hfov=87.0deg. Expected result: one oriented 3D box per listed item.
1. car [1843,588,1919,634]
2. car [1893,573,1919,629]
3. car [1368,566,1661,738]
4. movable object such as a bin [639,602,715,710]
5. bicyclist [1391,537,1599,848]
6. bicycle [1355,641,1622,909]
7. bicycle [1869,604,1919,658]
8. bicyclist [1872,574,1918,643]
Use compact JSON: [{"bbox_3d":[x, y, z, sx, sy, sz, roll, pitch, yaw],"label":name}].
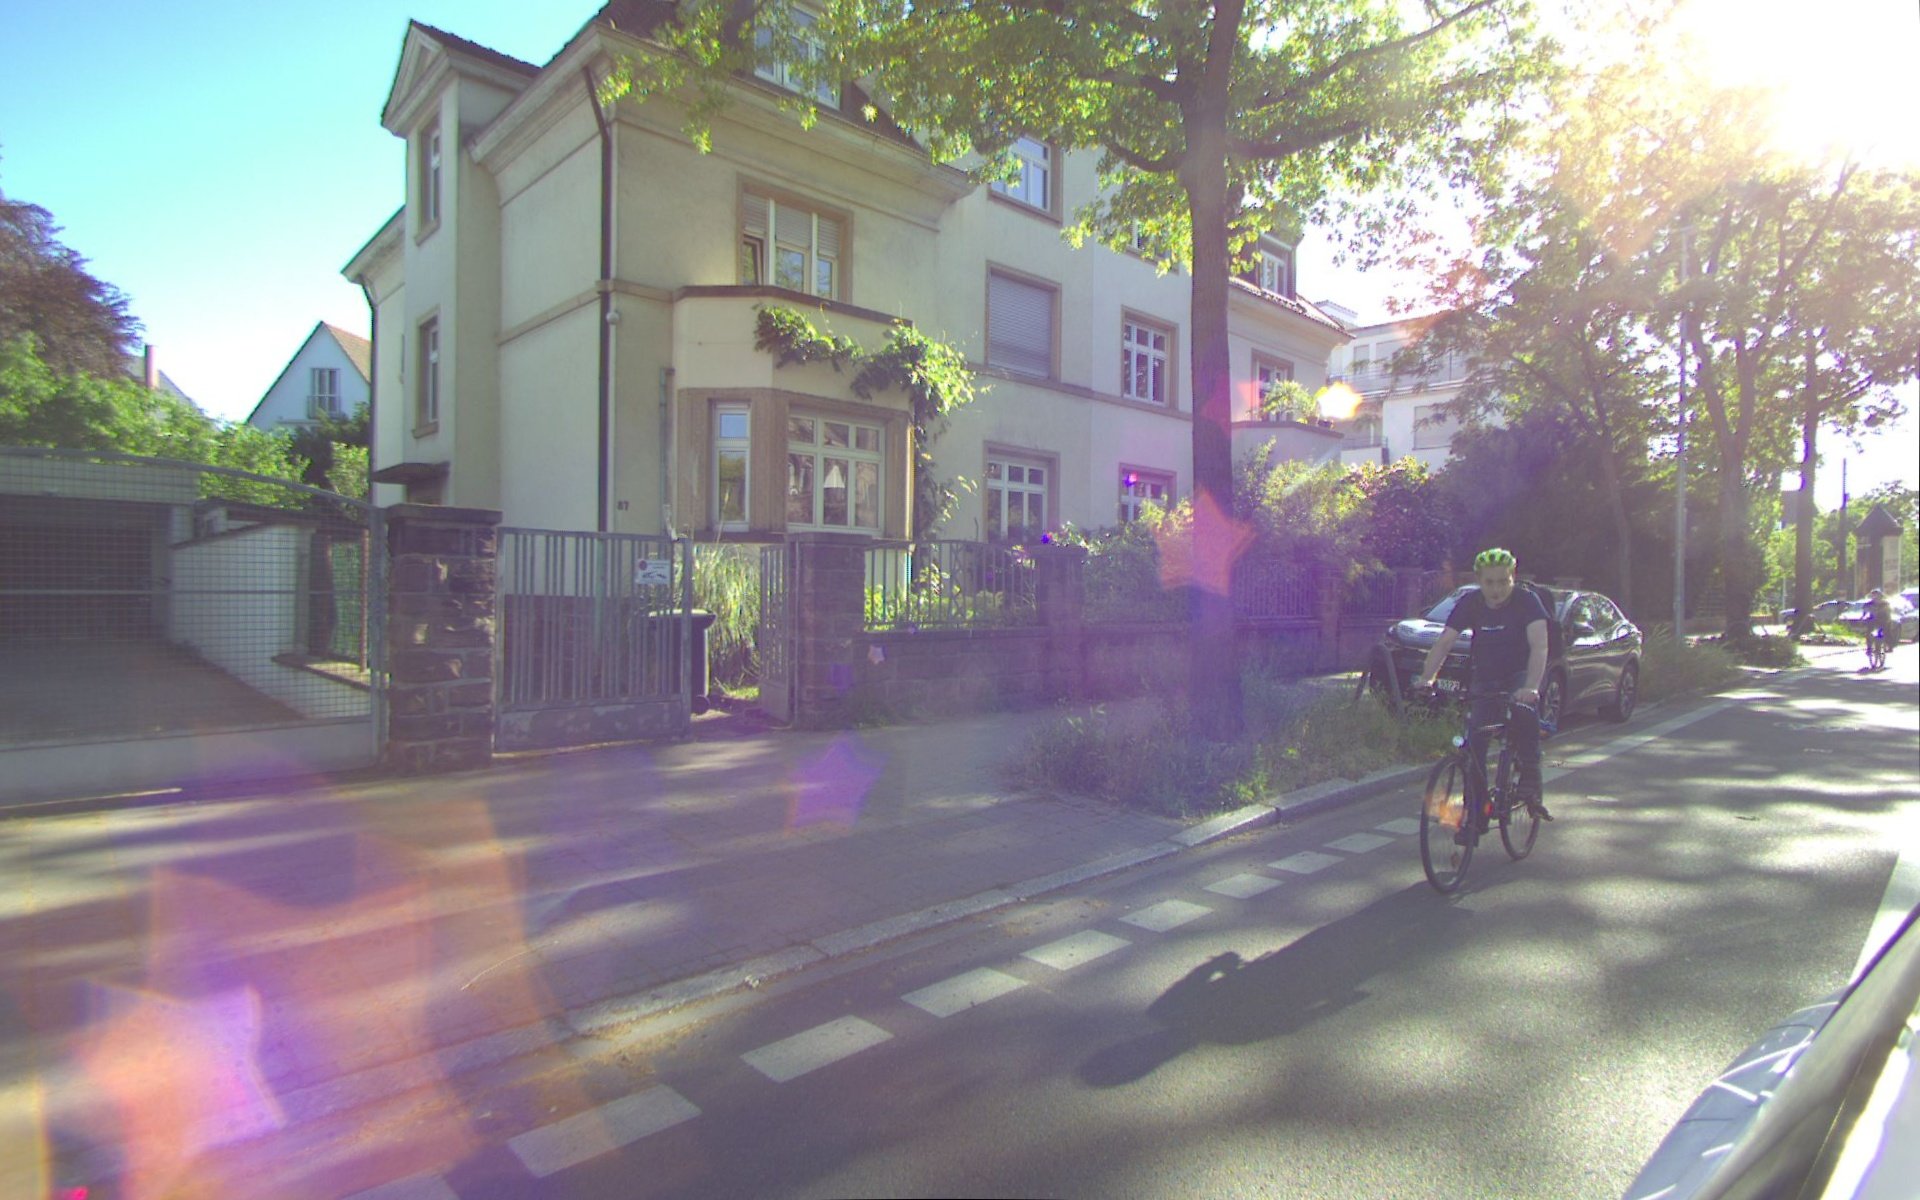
[{"bbox_3d":[31.550,0.335,34.411,3.930,1.469,1.785,0,1,-41],"label":"car"},{"bbox_3d":[36.785,0.048,38.072,4.503,2.039,1.997,0,1,-41],"label":"car"},{"bbox_3d":[6.704,0.494,12.064,4.021,1.626,1.743,0,4,-42],"label":"car"},{"bbox_3d":[-3.047,0.572,10.837,0.697,1.070,1.093,0,0,-20],"label":"movable object such as a bin"},{"bbox_3d":[2.928,0.443,5.518,1.095,1.506,0.645,0,0,-41],"label":"bicyclist"},{"bbox_3d":[2.924,0.840,5.511,1.868,1.158,0.644,0,0,-41],"label":"bicycle"},{"bbox_3d":[20.894,0.667,22.613,1.783,1.158,0.644,0,0,-41],"label":"bicycle"},{"bbox_3d":[20.890,0.177,22.609,1.095,1.506,0.622,0,0,-41],"label":"bicyclist"}]
